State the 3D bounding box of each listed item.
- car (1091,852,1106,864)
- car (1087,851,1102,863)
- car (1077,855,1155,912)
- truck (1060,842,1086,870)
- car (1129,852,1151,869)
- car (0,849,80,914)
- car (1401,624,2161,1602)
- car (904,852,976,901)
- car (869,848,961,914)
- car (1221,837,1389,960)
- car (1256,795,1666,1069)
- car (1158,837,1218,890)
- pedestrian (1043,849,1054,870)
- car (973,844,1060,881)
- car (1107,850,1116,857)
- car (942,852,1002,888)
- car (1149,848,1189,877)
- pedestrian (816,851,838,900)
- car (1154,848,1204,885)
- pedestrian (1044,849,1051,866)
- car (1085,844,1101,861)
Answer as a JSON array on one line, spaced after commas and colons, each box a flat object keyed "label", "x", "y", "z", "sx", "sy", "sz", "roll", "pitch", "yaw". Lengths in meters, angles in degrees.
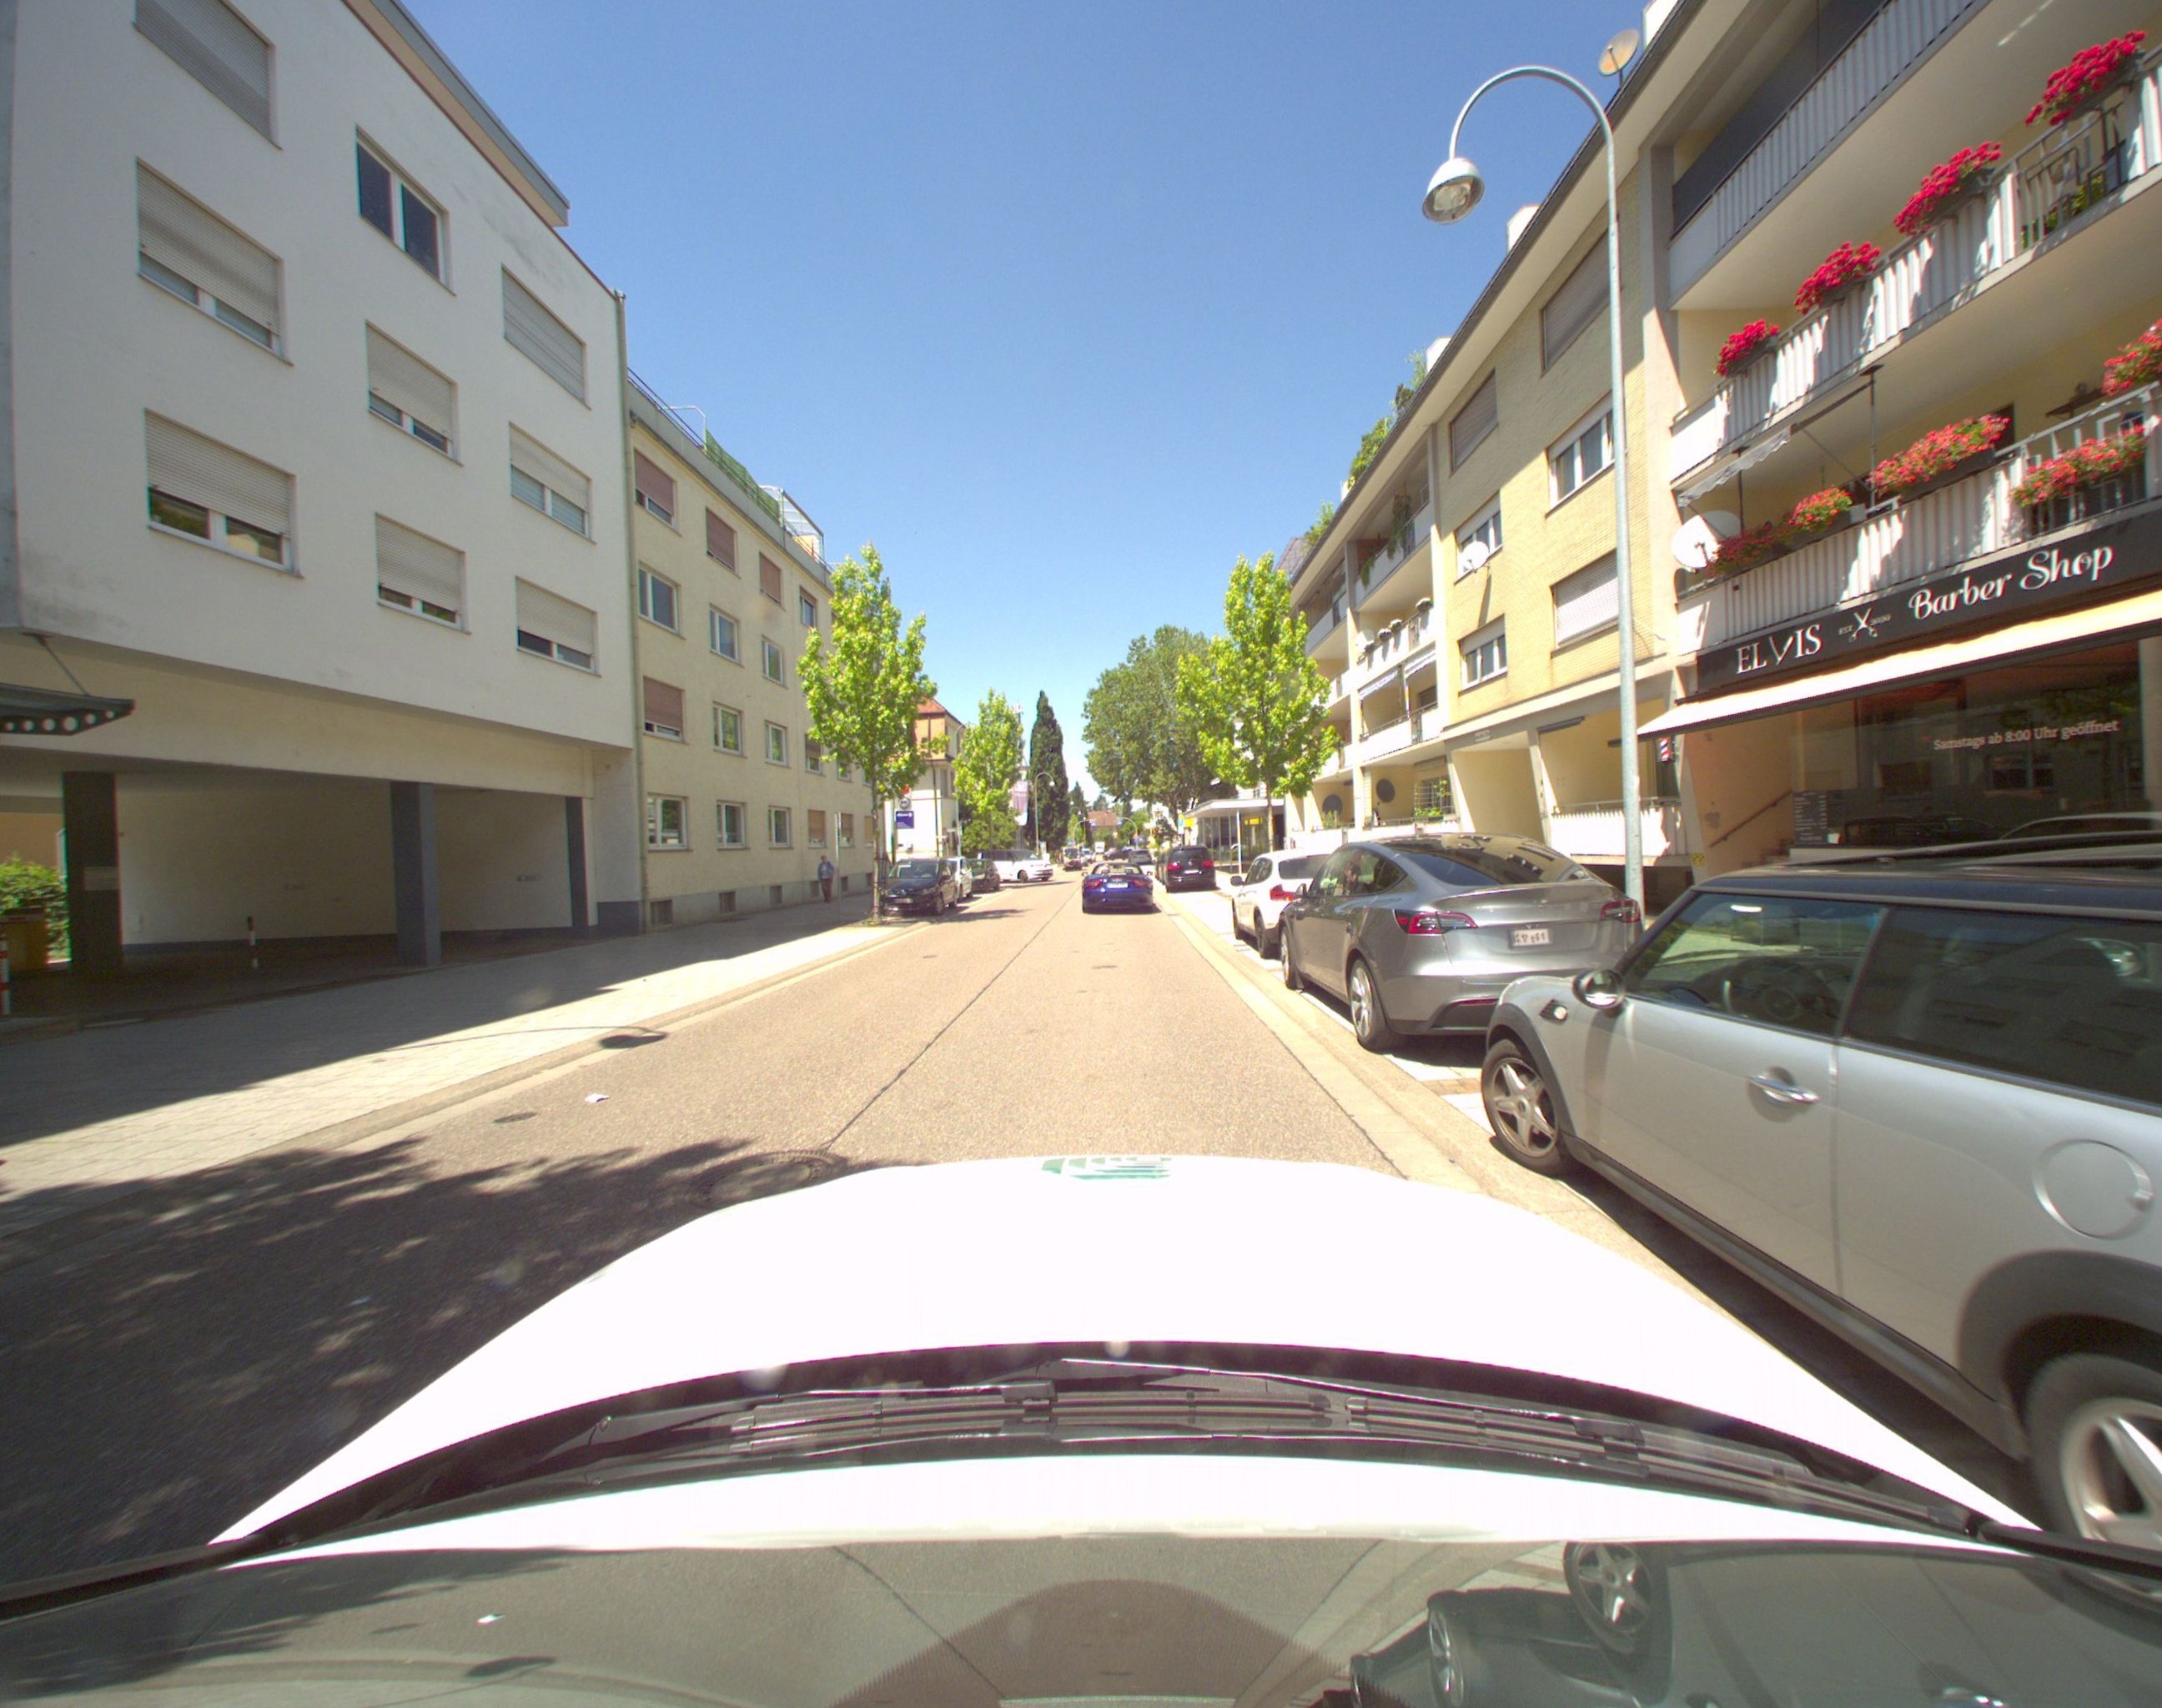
[{"label": "car", "x": 2.388, "y": 0.511, "z": 110.294, "sx": 1.943, "sy": 1.476, "sz": 4.139, "roll": -2, "pitch": 0, "yaw": 2}, {"label": "car", "x": 1.777, "y": 0.411, "z": 105.024, "sx": 1.763, "sy": 1.476, "sz": 4.139, "roll": -2, "pitch": 0, "yaw": 2}, {"label": "car", "x": 0.944, "y": 0.746, "z": 22.870, "sx": 1.969, "sy": 1.398, "sz": 4.628, "roll": -1, "pitch": 0, "yaw": 1}, {"label": "truck", "x": -0.622, "y": 0.134, "z": 66.658, "sx": 1.797, "sy": 2.117, "sz": 4.717, "roll": -2, "pitch": 0, "yaw": 2}, {"label": "car", "x": 5.596, "y": 0.572, "z": 77.826, "sx": 1.968, "sy": 1.450, "sz": 4.352, "roll": -3, "pitch": 1, "yaw": 2}, {"label": "car", "x": -25.839, "y": 0.668, "z": 18.247, "sx": 1.821, "sy": 1.498, "sz": 3.916, "roll": -2, "pitch": 0, "yaw": 3}, {"label": "car", "x": 2.576, "y": 0.403, "z": 2.701, "sx": 1.616, "sy": 1.559, "sz": 3.842, "roll": -1, "pitch": 0, "yaw": 2}, {"label": "car", "x": -5.079, "y": 0.756, "z": 29.927, "sx": 1.818, "sy": 1.619, "sz": 4.393, "roll": 1, "pitch": 1, "yaw": 1}, {"label": "car", "x": -4.857, "y": 0.731, "z": 24.401, "sx": 1.723, "sy": 1.740, "sz": 4.393, "roll": 2, "pitch": 0, "yaw": 1}, {"label": "car", "x": 3.349, "y": 0.599, "z": 12.977, "sx": 1.715, "sy": 1.583, "sz": 4.229, "roll": -2, "pitch": 0, "yaw": 4}, {"label": "car", "x": 2.946, "y": 0.512, "z": 7.600, "sx": 1.757, "sy": 1.706, "sz": 4.708, "roll": -2, "pitch": 0, "yaw": 3}, {"label": "car", "x": 4.010, "y": 0.298, "z": 31.207, "sx": 1.984, "sy": 1.798, "sz": 4.575, "roll": -2, "pitch": 1, "yaw": 4}, {"label": "pedestrian", "x": -3.102, "y": 0.500, "z": 77.447, "sx": 0.844, "sy": 1.915, "sz": 0.763, "roll": -2, "pitch": 2, "yaw": 9}, {"label": "car", "x": -3.712, "y": 0.482, "z": 46.345, "sx": 4.842, "sy": 1.922, "sz": 1.925, "roll": -2, "pitch": 0, "yaw": 37}, {"label": "car", "x": 6.146, "y": -0.061, "z": 164.257, "sx": 1.763, "sy": 1.476, "sz": 4.139, "roll": -1, "pitch": -1, "yaw": 2}, {"label": "car", "x": -4.776, "y": 0.675, "z": 36.129, "sx": 1.746, "sy": 1.474, "sz": 4.326, "roll": 1, "pitch": 0, "yaw": 4}, {"label": "car", "x": 4.654, "y": 0.428, "z": 43.657, "sx": 1.837, "sy": 1.414, "sz": 4.165, "roll": -2, "pitch": 0, "yaw": 2}, {"label": "pedestrian", "x": -9.121, "y": 0.767, "z": 29.314, "sx": 0.657, "sy": 1.680, "sz": 0.628, "roll": -3, "pitch": 2, "yaw": -16}, {"label": "car", "x": 4.393, "y": 0.545, "z": 37.254, "sx": 1.887, "sy": 1.530, "sz": 4.571, "roll": -2, "pitch": -1, "yaw": 2}, {"label": "pedestrian", "x": -3.153, "y": 0.349, "z": 77.437, "sx": 0.585, "sy": 1.574, "sz": 0.781, "roll": -1, "pitch": 0, "yaw": 1}, {"label": "car", "x": 1.368, "y": -0.200, "z": 94.160, "sx": 1.763, "sy": 1.767, "sz": 4.138, "roll": -2, "pitch": 1, "yaw": 1}]
